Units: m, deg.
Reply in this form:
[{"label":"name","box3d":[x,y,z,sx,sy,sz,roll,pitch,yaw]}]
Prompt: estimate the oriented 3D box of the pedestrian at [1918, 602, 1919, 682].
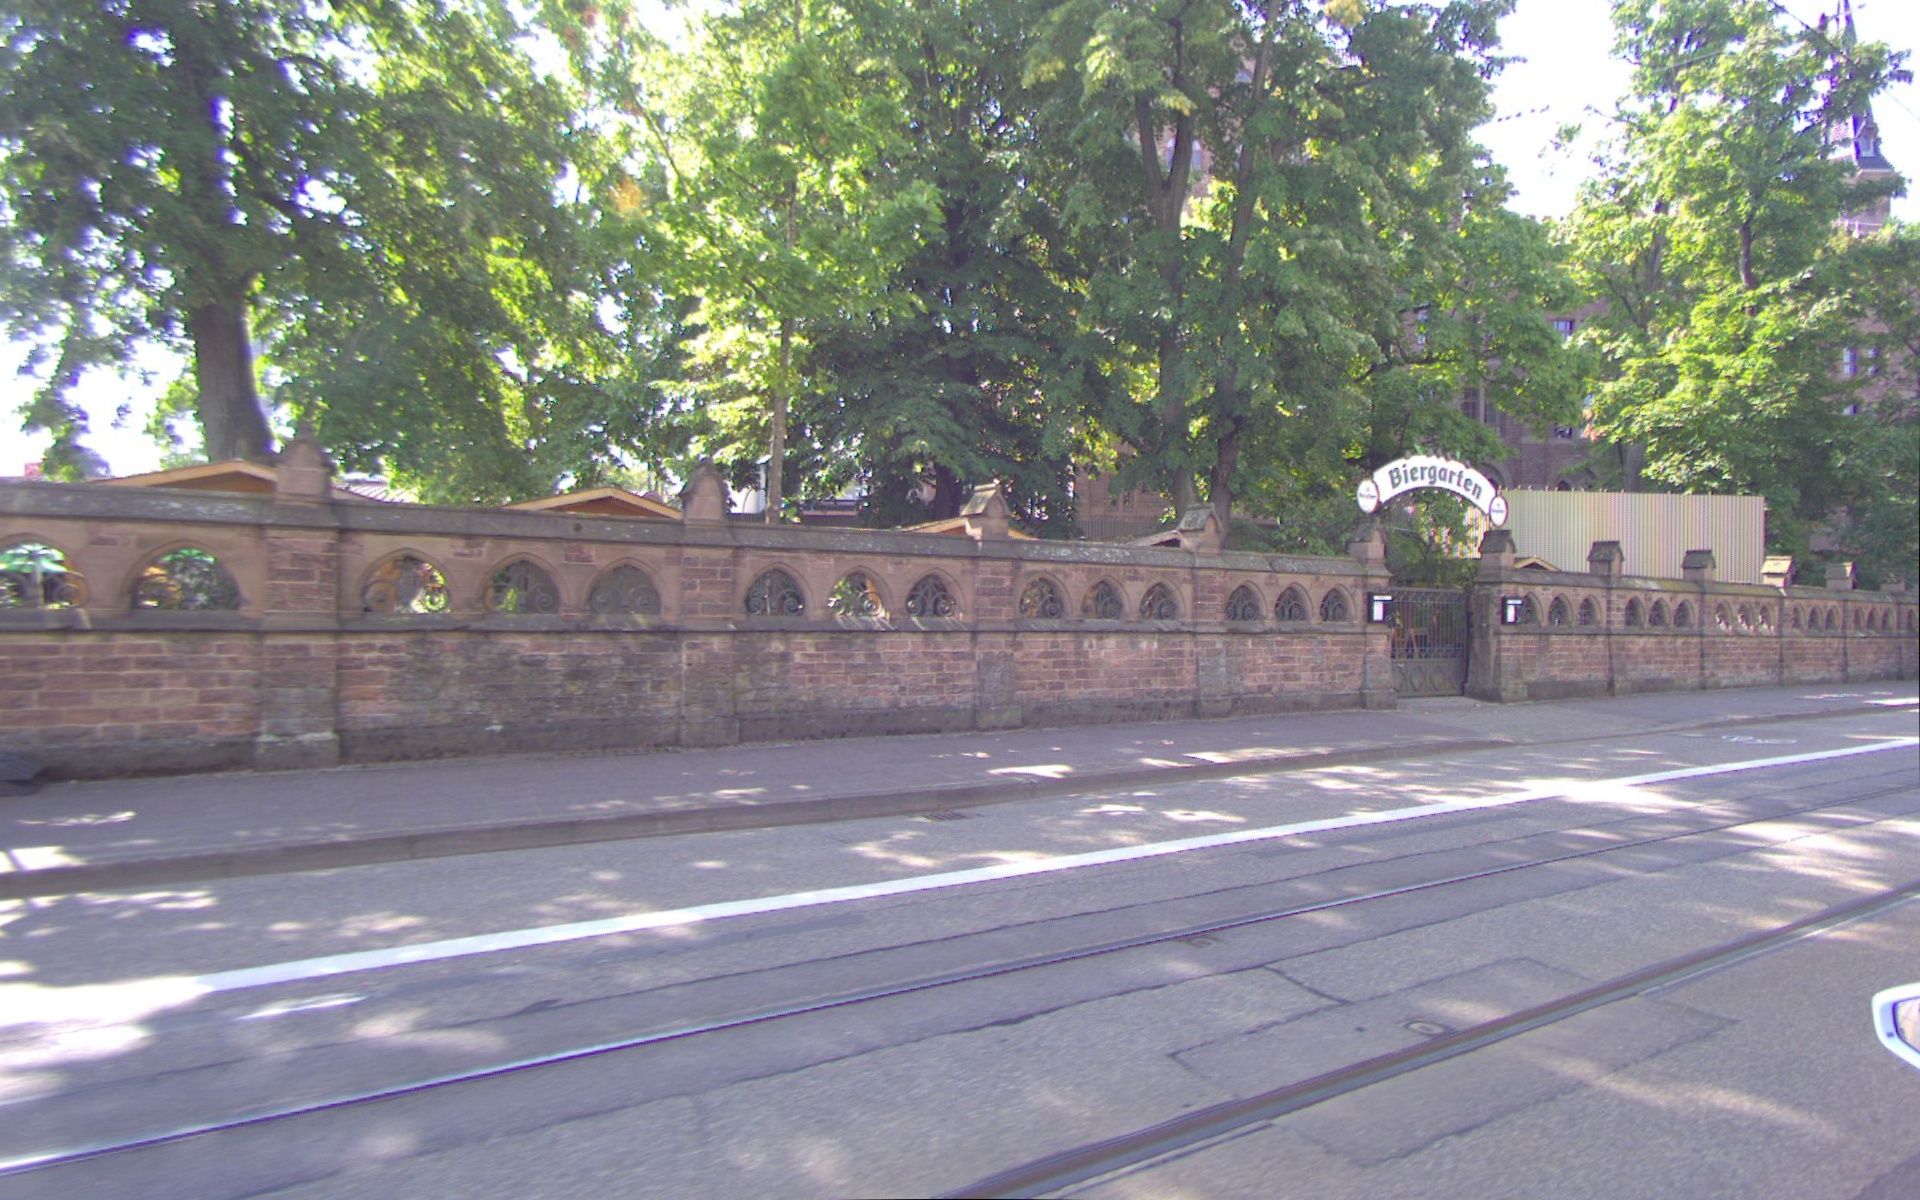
[{"label":"pedestrian","box3d":[25.001,1.079,25.440,0.972,2.040,0.859,1,-1,-32]}]
